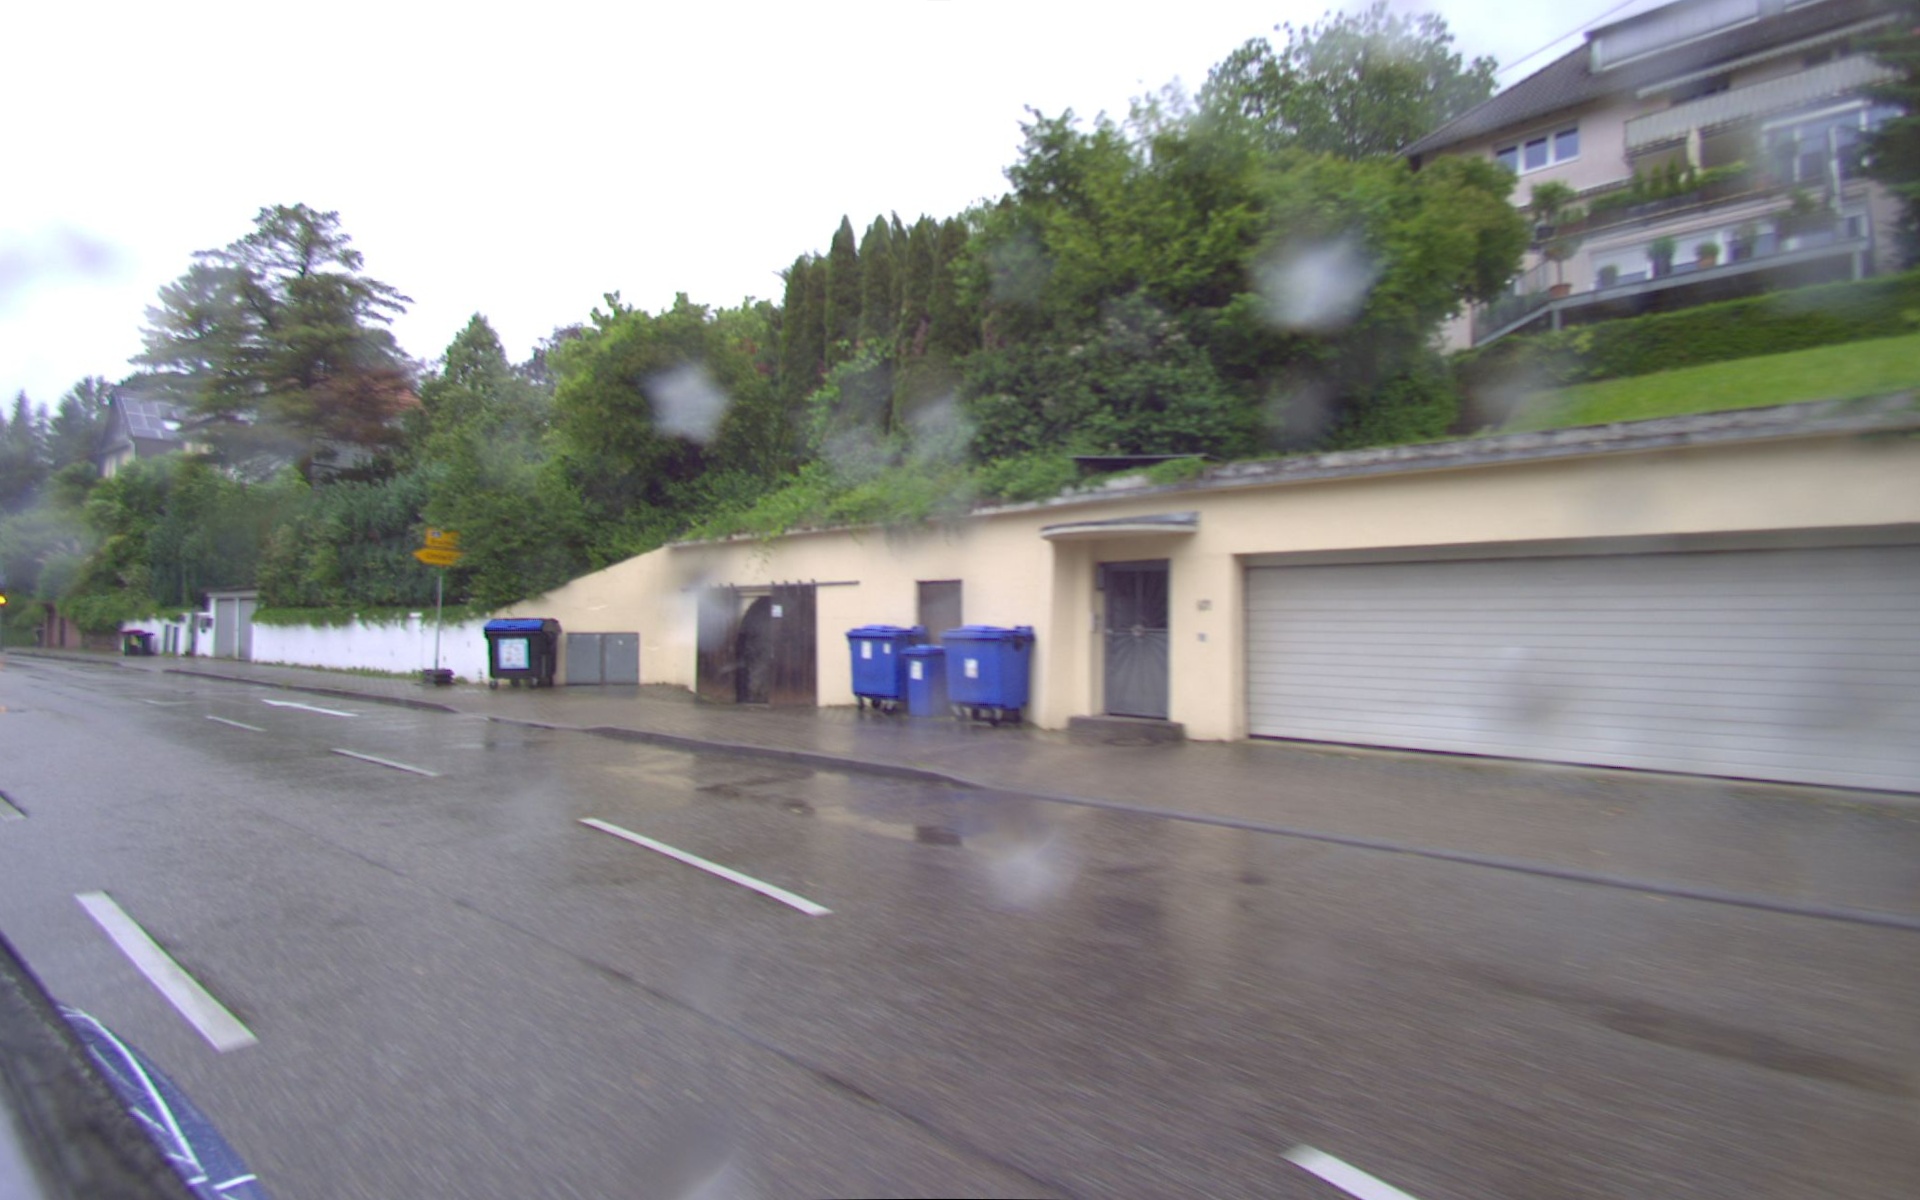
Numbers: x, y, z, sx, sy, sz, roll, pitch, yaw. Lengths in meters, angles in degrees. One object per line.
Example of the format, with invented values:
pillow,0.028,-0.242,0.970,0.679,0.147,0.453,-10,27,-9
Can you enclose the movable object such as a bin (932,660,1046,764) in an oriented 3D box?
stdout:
movable object such as a bin,0.387,1.519,14.114,0.811,1.324,1.403,1,-2,-45

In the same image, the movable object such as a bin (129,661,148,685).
movable object such as a bin,-33.388,2.967,41.127,0.415,0.947,0.537,-2,-1,38

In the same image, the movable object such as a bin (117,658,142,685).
movable object such as a bin,-34.028,2.939,41.466,0.656,1.048,0.674,-2,-1,38

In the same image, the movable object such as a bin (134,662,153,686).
movable object such as a bin,-32.986,2.979,40.867,0.415,0.905,0.526,-2,-1,38

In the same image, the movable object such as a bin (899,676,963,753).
movable object such as a bin,-0.432,1.685,15.022,0.727,1.050,0.608,0,-2,-45

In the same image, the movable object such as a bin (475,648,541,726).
movable object such as a bin,-9.233,1.759,20.677,0.861,1.456,0.923,0,2,39

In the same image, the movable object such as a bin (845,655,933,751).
movable object such as a bin,-1.108,1.558,15.696,0.811,1.392,1.135,1,-3,-45
